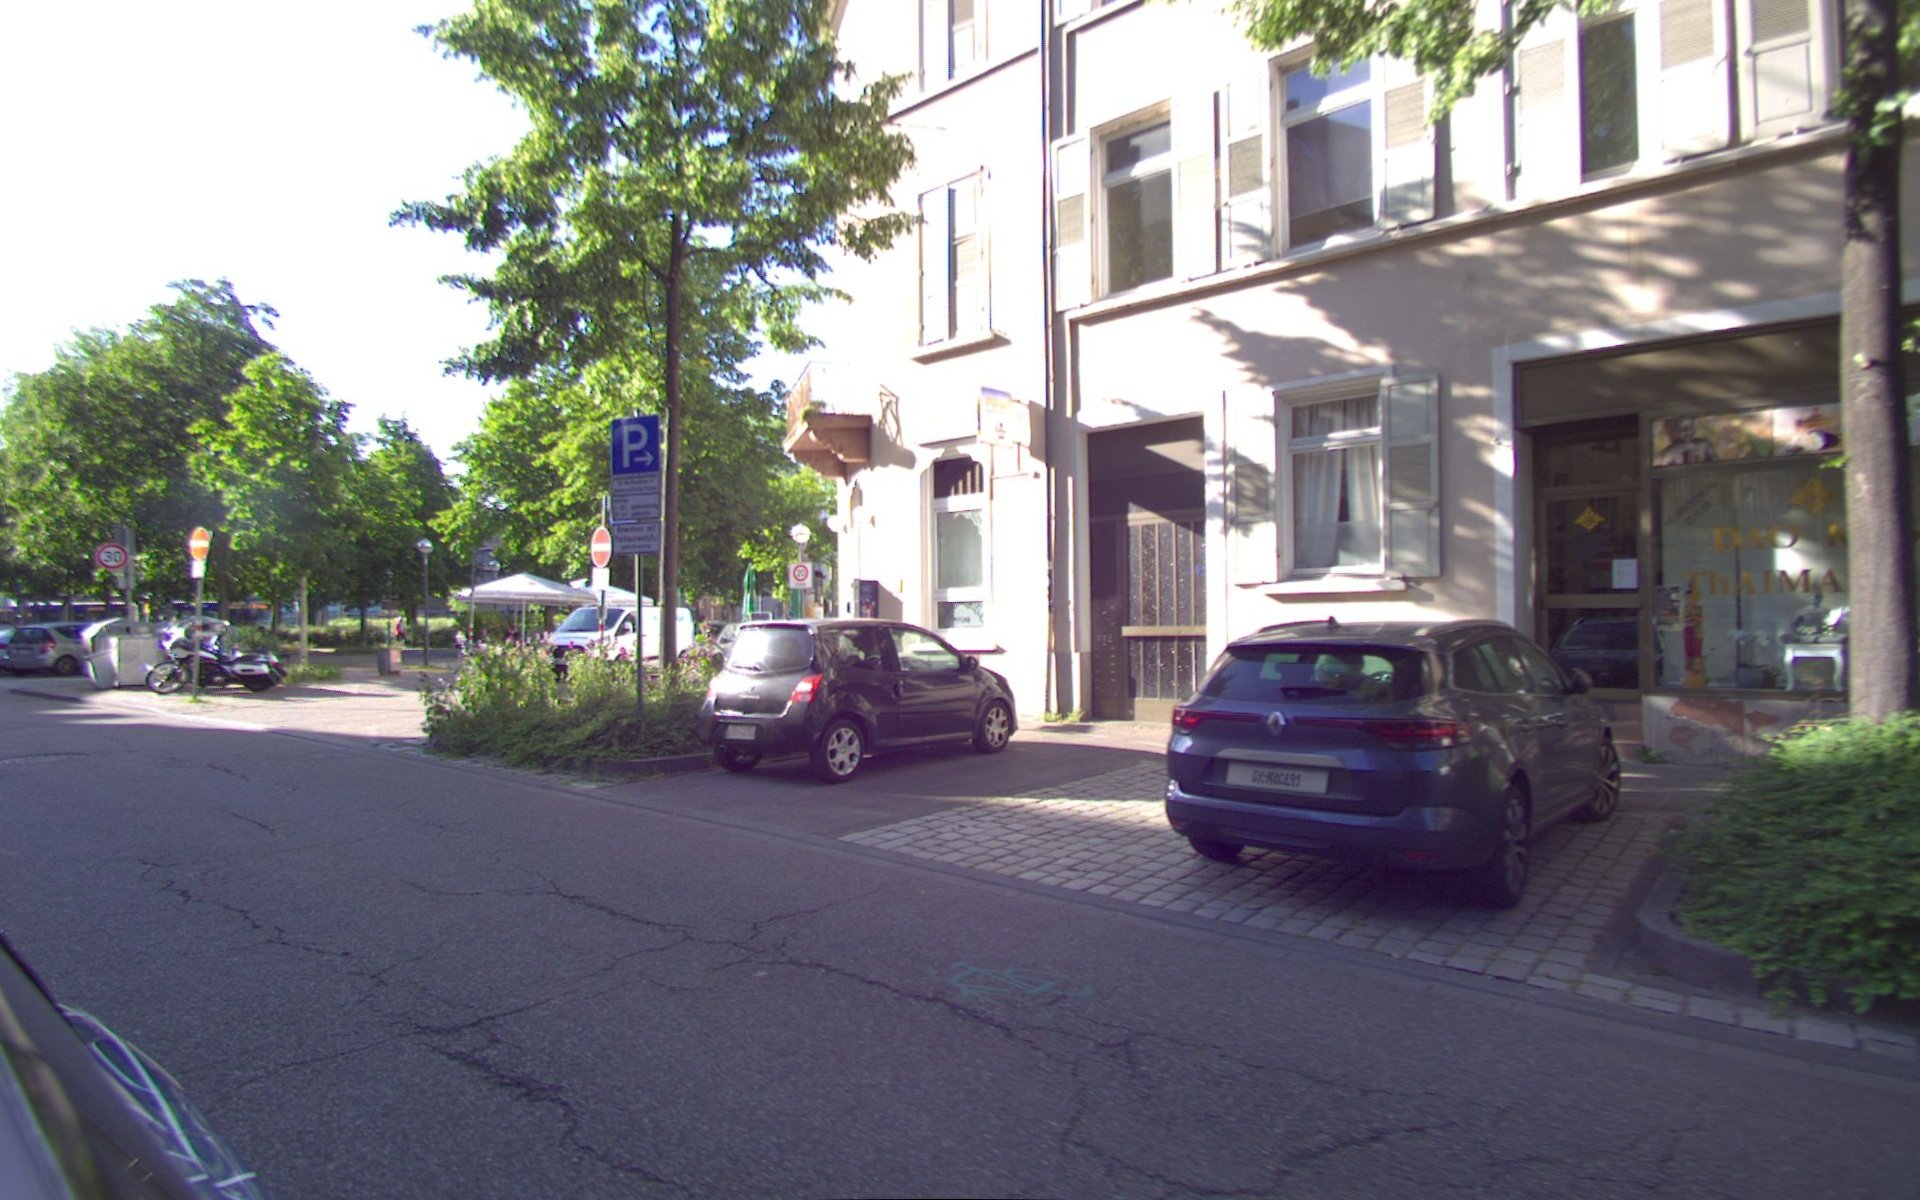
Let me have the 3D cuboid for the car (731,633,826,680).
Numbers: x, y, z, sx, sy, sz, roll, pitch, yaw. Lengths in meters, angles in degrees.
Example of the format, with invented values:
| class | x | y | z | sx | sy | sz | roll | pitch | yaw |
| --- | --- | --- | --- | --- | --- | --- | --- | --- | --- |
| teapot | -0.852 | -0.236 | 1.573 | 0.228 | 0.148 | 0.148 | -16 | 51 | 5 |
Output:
| class | x | y | z | sx | sy | sz | roll | pitch | yaw |
| --- | --- | --- | --- | --- | --- | --- | --- | --- | --- |
| car | -6.610 | 2.052 | 37.311 | 1.910 | 1.625 | 4.131 | -1 | -3 | 14 |

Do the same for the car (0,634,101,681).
| class | x | y | z | sx | sy | sz | roll | pitch | yaw |
| --- | --- | --- | --- | --- | --- | --- | --- | --- | --- |
| car | -31.643 | 1.912 | 33.916 | 1.981 | 1.485 | 3.982 | -1 | -1 | 14 |

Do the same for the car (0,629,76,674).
| class | x | y | z | sx | sy | sz | roll | pitch | yaw |
| --- | --- | --- | --- | --- | --- | --- | --- | --- | --- |
| car | -38.035 | 2.029 | 40.114 | 2.087 | 1.657 | 3.973 | 1 | -1 | 20 |

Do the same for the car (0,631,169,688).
| class | x | y | z | sx | sy | sz | roll | pitch | yaw |
| --- | --- | --- | --- | --- | --- | --- | --- | --- | --- |
| car | -27.009 | 1.774 | 31.111 | 1.977 | 1.574 | 3.989 | -1 | -1 | 9 |

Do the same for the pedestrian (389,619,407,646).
| class | x | y | z | sx | sy | sz | roll | pitch | yaw |
| --- | --- | --- | --- | --- | --- | --- | --- | --- | --- |
| pedestrian | -26.789 | 1.547 | 48.217 | 0.516 | 1.267 | 0.523 | -1 | -2 | 22 |

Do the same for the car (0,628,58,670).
| class | x | y | z | sx | sy | sz | roll | pitch | yaw |
| --- | --- | --- | --- | --- | --- | --- | --- | --- | --- |
| car | -40.171 | 2.041 | 41.733 | 1.986 | 1.706 | 3.972 | -1 | -1 | 21 |

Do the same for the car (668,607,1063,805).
| class | x | y | z | sx | sy | sz | roll | pitch | yaw |
| --- | --- | --- | --- | --- | --- | --- | --- | --- | --- |
| car | -0.817 | 0.927 | 10.612 | 1.942 | 1.652 | 3.948 | -2 | -2 | 38 |

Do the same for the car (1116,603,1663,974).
| class | x | y | z | sx | sy | sz | roll | pitch | yaw |
| --- | --- | --- | --- | --- | --- | --- | --- | --- | --- |
| car | 3.017 | 0.832 | 6.519 | 1.944 | 1.556 | 4.293 | -2 | -2 | 42 |

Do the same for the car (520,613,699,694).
| class | x | y | z | sx | sy | sz | roll | pitch | yaw |
| --- | --- | --- | --- | --- | --- | --- | --- | --- | --- |
| car | -9.292 | 1.439 | 27.439 | 2.054 | 1.959 | 5.304 | -1 | -3 | 14 |

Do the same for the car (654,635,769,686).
| class | x | y | z | sx | sy | sz | roll | pitch | yaw |
| --- | --- | --- | --- | --- | --- | --- | --- | --- | --- |
| car | -7.906 | 1.930 | 32.623 | 1.910 | 1.528 | 4.131 | -1 | -3 | 14 |

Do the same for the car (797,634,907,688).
| class | x | y | z | sx | sy | sz | roll | pitch | yaw |
| --- | --- | --- | --- | --- | --- | --- | --- | --- | --- |
| car | -3.228 | 1.836 | 31.133 | 1.911 | 1.528 | 4.360 | -1 | -3 | 16 |

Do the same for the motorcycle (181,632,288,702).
| class | x | y | z | sx | sy | sz | roll | pitch | yaw |
| --- | --- | --- | --- | --- | --- | --- | --- | --- | --- |
| motorcycle | -15.627 | 1.425 | 21.853 | 1.724 | 1.434 | 0.832 | 0 | -2 | -23 |

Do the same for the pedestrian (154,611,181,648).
| class | x | y | z | sx | sy | sz | roll | pitch | yaw |
| --- | --- | --- | --- | --- | --- | --- | --- | --- | --- |
| pedestrian | -27.581 | 1.022 | 35.218 | 0.520 | 1.267 | 0.519 | 0 | -2 | 7 |

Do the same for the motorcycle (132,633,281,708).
| class | x | y | z | sx | sy | sz | roll | pitch | yaw |
| --- | --- | --- | --- | --- | --- | --- | --- | --- | --- |
| motorcycle | -15.434 | 1.413 | 20.820 | 2.282 | 1.434 | 1.004 | 0 | -2 | -23 |

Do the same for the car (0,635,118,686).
| class | x | y | z | sx | sy | sz | roll | pitch | yaw |
| --- | --- | --- | --- | --- | --- | --- | --- | --- | --- |
| car | -29.268 | 1.871 | 31.853 | 1.977 | 1.453 | 3.989 | -1 | -1 | 9 |
